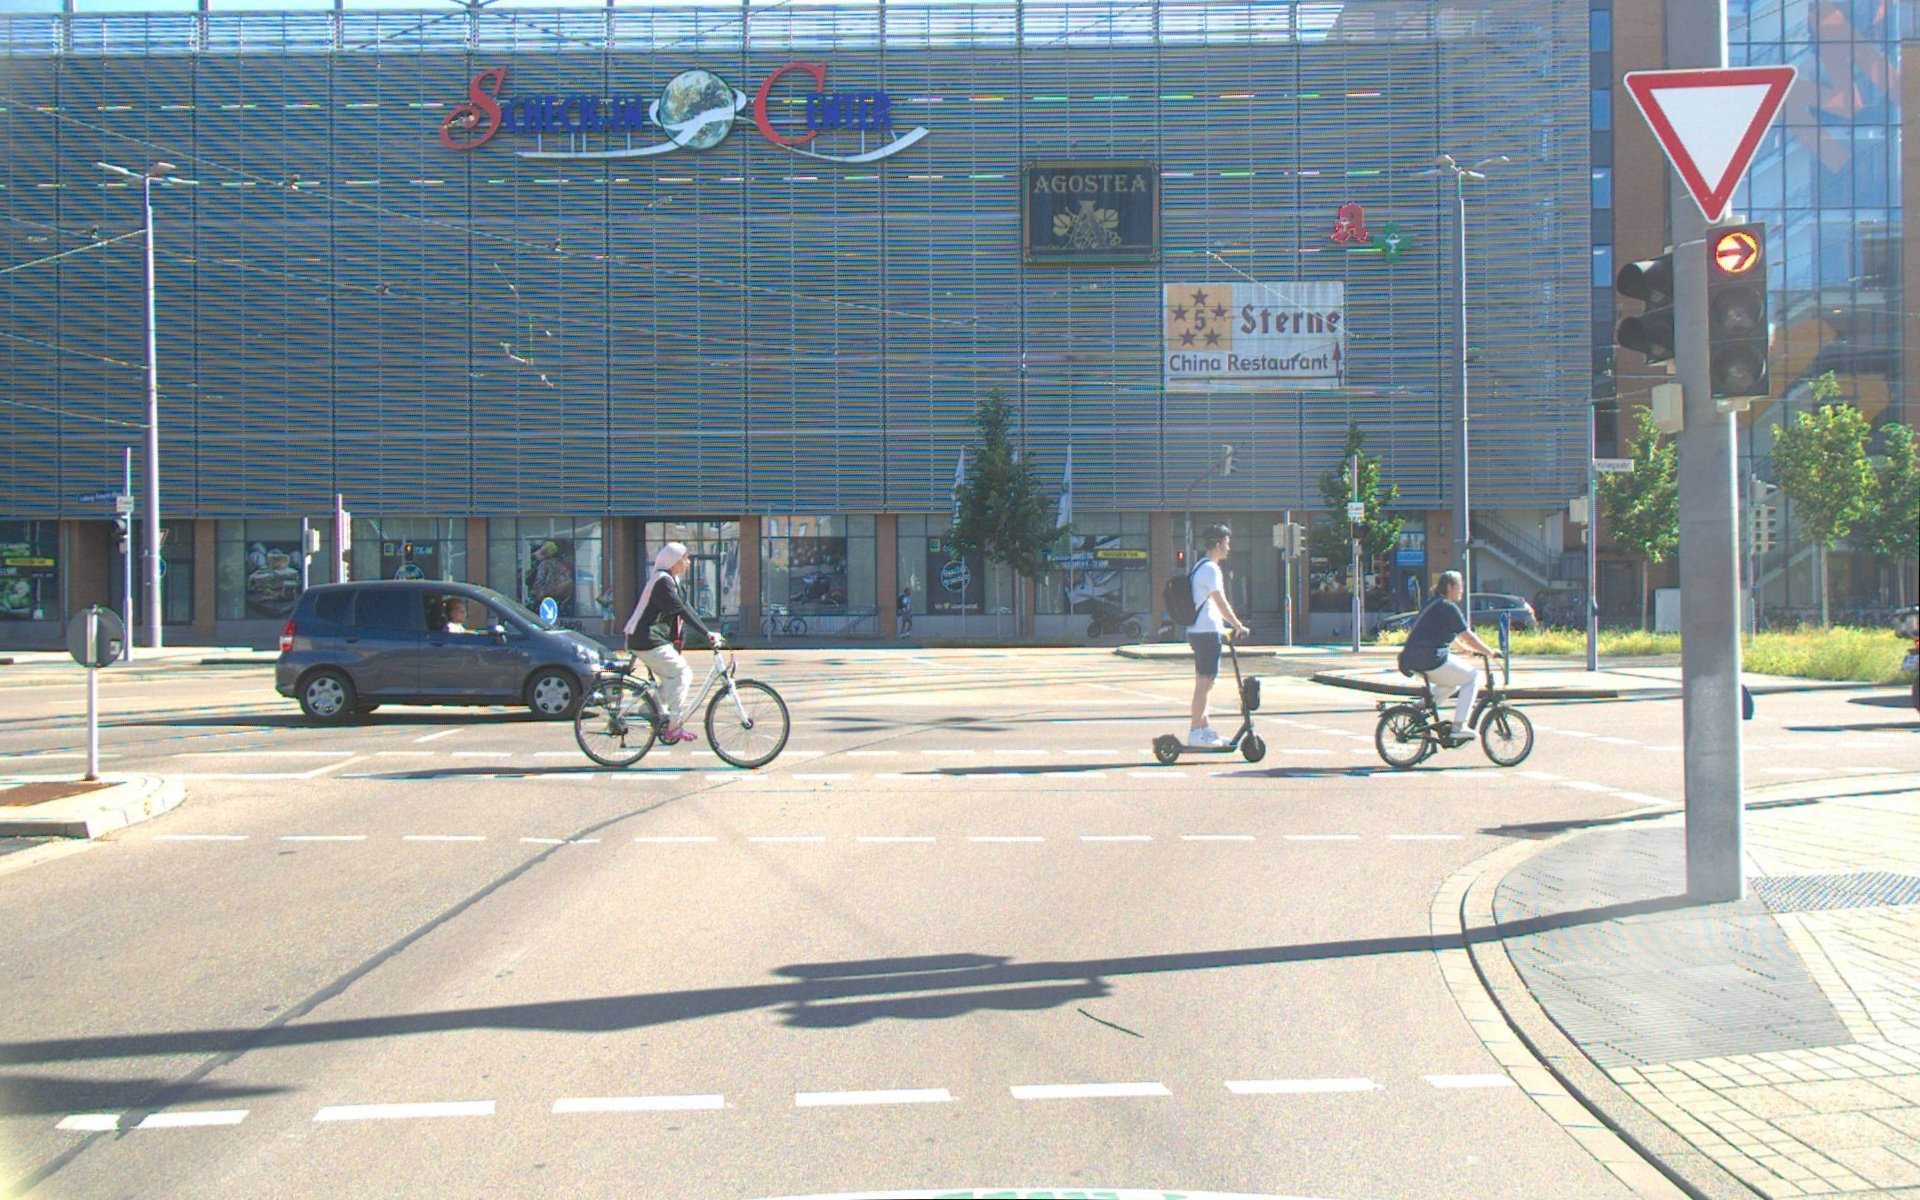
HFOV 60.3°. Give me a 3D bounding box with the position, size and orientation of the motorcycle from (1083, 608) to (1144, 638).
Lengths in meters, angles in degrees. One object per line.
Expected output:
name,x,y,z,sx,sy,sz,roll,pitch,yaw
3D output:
motorcycle,5.644,0.856,60.952,2.157,1.061,1.061,0,0,-1

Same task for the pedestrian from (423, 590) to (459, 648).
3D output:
pedestrian,-17.201,0.620,54.797,0.890,1.901,0.816,-1,0,42

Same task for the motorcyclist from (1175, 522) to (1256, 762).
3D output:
motorcyclist,2.221,0.359,14.398,0.615,2.049,0.497,0,0,-1

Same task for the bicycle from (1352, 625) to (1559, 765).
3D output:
bicycle,4.285,0.809,14.361,1.545,1.126,0.734,2,0,-3

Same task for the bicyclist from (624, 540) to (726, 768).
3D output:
bicyclist,-2.330,0.427,13.605,0.748,1.820,0.762,0,0,-4

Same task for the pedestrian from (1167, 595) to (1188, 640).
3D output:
pedestrian,7.270,0.584,55.301,0.577,1.488,0.658,0,0,-1

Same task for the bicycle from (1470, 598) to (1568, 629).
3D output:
bicycle,20.810,0.494,61.597,3.289,1.096,1.117,0,0,5

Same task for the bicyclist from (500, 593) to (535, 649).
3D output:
bicyclist,-14.646,0.695,54.763,0.838,1.834,0.803,0,0,-42

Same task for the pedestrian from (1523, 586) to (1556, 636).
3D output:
pedestrian,20.734,0.377,59.207,0.837,1.768,0.752,-1,0,-7

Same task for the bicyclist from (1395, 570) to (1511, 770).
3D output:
bicyclist,4.243,0.585,14.267,0.767,1.677,0.690,0,0,-3

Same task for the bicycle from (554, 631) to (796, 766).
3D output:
bicycle,-2.315,0.796,13.614,1.887,1.054,0.694,0,0,-4

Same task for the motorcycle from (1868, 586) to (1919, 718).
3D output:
motorcycle,11.663,0.584,18.622,2.394,1.443,0.914,1,0,-3

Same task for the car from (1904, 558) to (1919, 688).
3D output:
car,15.324,0.320,22.115,4.549,1.748,1.836,0,1,-9

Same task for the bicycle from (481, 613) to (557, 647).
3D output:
bicycle,-14.607,0.973,54.854,2.225,1.089,1.030,0,0,-42

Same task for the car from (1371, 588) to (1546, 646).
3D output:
car,13.777,0.464,45.835,4.395,1.521,1.494,-1,0,-1

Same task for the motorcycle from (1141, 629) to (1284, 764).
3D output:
motorcycle,2.188,0.831,14.388,1.162,1.141,0.483,0,0,-1

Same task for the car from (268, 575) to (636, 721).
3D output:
car,-5.635,0.519,18.750,3.679,1.552,1.821,0,0,-6

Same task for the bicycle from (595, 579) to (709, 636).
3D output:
bicycle,-11.274,0.266,60.664,3.905,2.049,1.330,0,0,-1

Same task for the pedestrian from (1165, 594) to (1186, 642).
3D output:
pedestrian,7.109,0.601,54.564,0.577,1.561,0.658,0,0,-1

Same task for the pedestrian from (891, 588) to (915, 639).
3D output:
pedestrian,-2.040,0.489,59.393,0.831,1.794,0.620,0,0,-2

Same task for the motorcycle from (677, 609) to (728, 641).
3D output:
motorcycle,-8.686,0.838,55.806,1.616,1.078,0.497,-1,0,9

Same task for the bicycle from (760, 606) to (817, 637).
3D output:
bicycle,-6.260,0.775,60.485,1.985,1.078,1.144,0,0,-1
